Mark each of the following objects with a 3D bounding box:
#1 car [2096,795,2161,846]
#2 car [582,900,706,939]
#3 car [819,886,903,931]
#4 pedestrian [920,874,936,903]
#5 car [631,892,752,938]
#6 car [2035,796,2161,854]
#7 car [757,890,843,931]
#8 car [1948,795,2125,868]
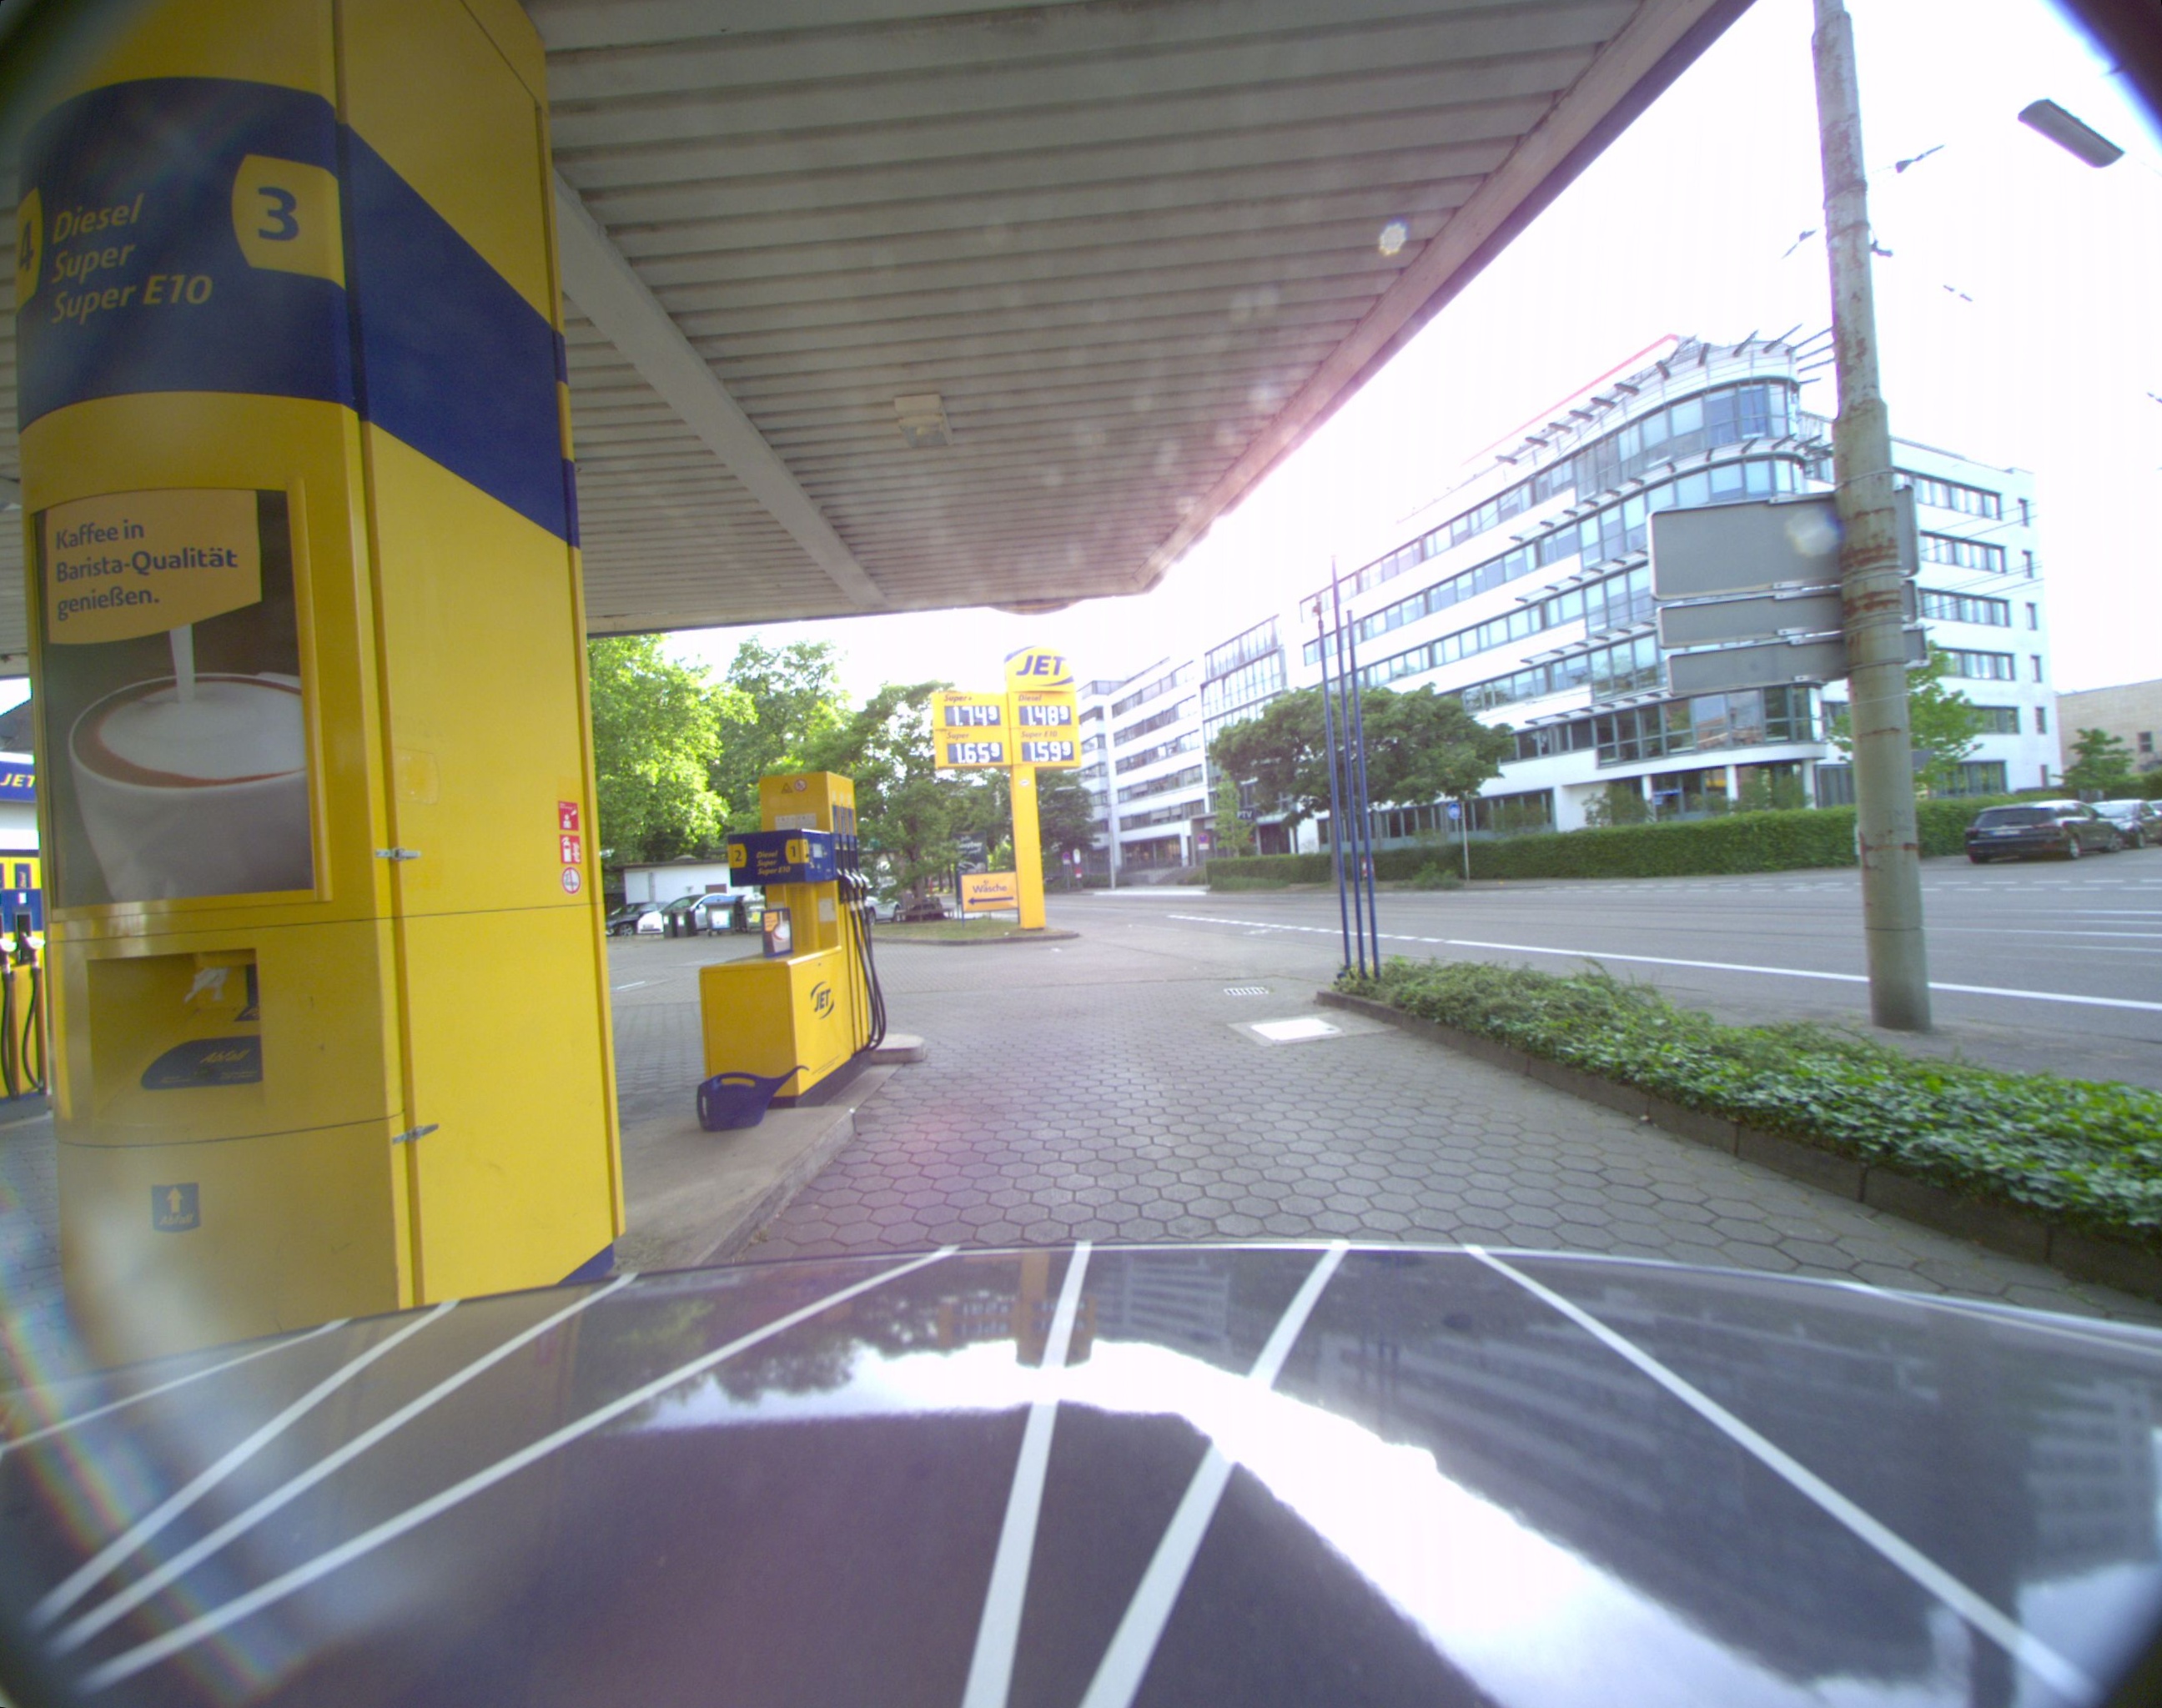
[{"bbox_3d":[37.147,-1.232,26.075,4.109,1.544,1.786,-4,-1,-23],"label":"car"},{"bbox_3d":[-17.749,2.637,31.072,1.745,1.269,4.230,-5,-3,19],"label":"car"},{"bbox_3d":[-8.689,2.122,30.381,1.739,1.500,4.003,-4,-2,6],"label":"car"},{"bbox_3d":[-10.929,2.471,54.379,0.934,2.001,1.215,-2,-1,-17],"label":"pedestrian"},{"bbox_3d":[-15.363,2.389,30.256,1.785,1.514,4.229,-4,-3,17],"label":"car"},{"bbox_3d":[32.488,-0.937,24.037,4.109,1.544,1.786,-4,-1,-23],"label":"car"},{"bbox_3d":[-11.805,2.328,32.244,1.739,1.500,4.004,-4,-2,6],"label":"car"},{"bbox_3d":[27.372,-0.645,21.767,4.438,1.603,1.976,-5,-1,-23],"label":"car"}]
